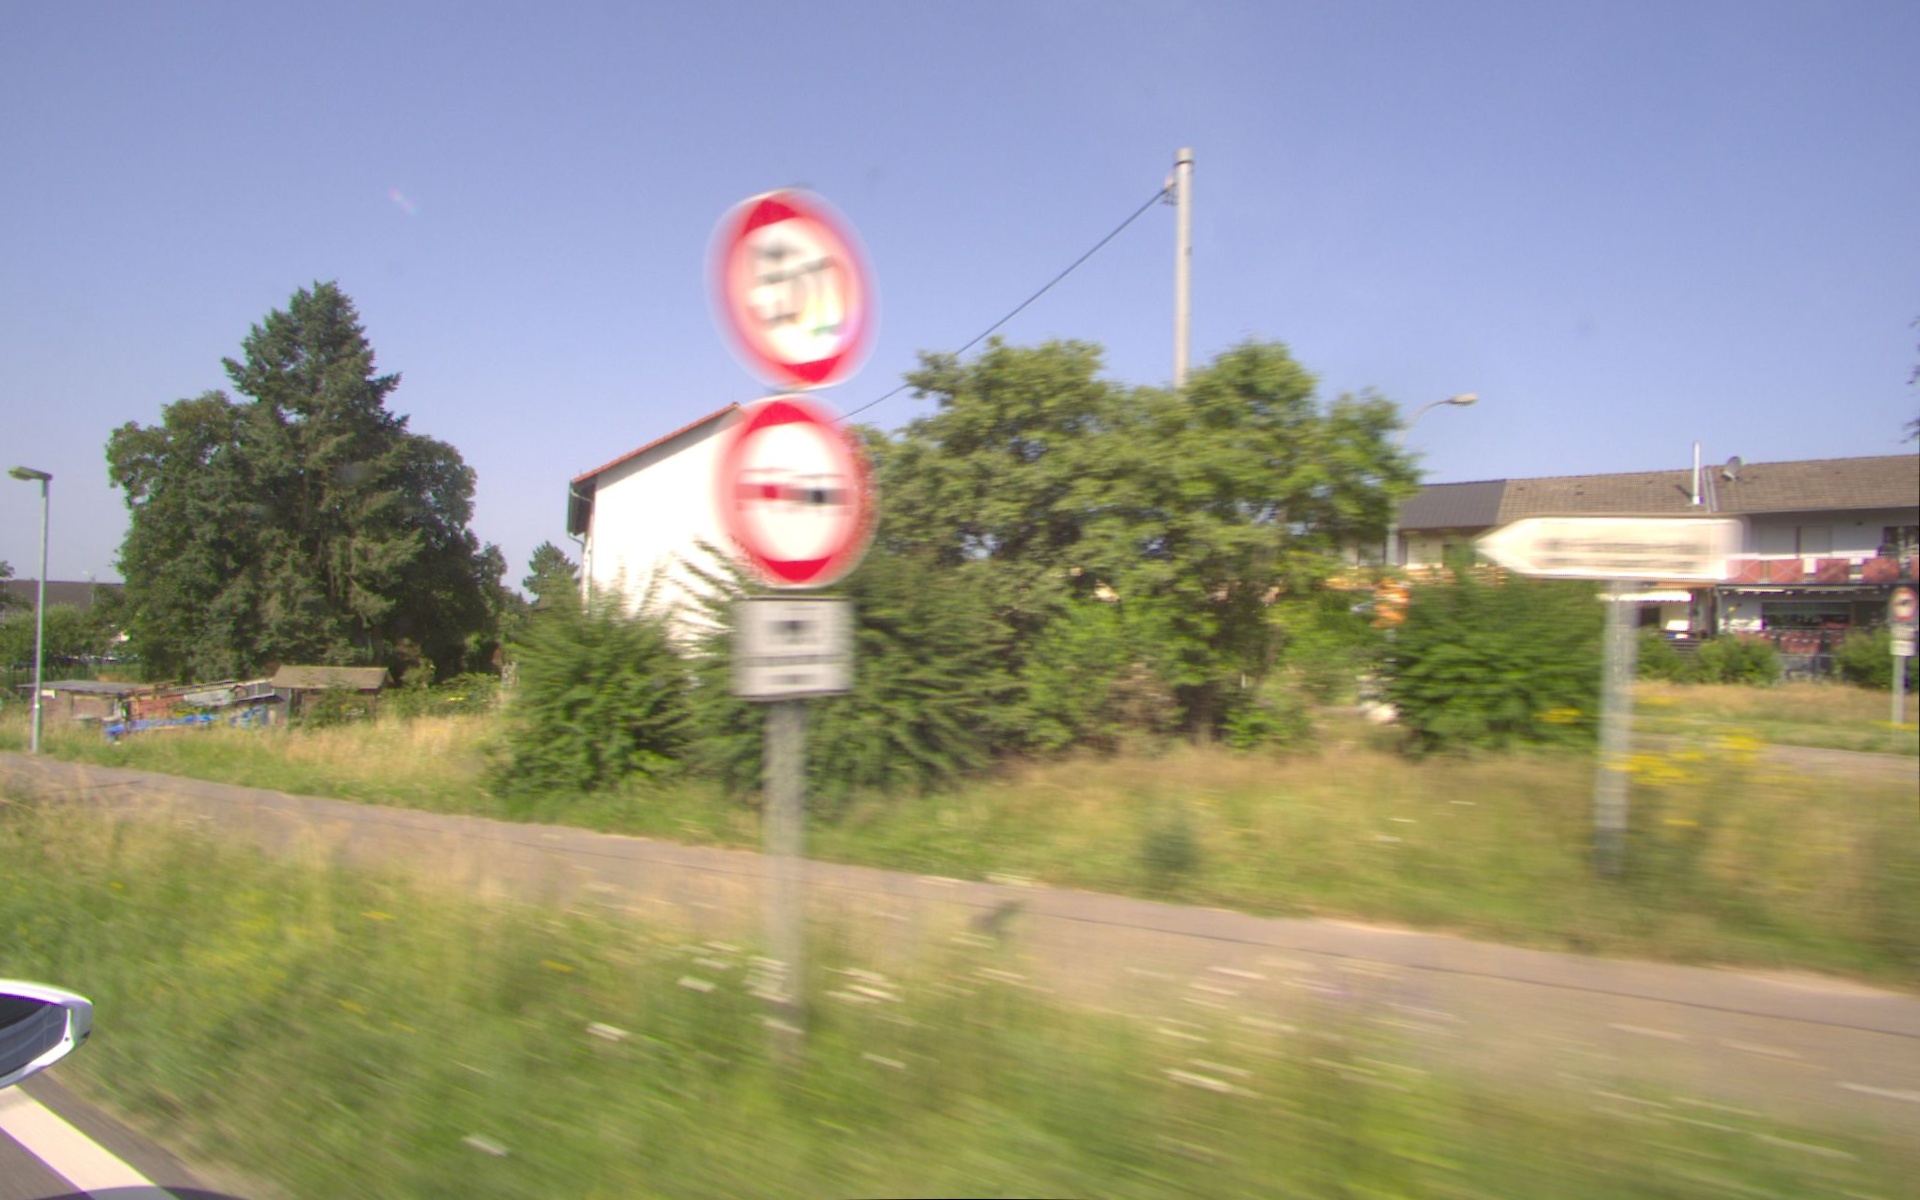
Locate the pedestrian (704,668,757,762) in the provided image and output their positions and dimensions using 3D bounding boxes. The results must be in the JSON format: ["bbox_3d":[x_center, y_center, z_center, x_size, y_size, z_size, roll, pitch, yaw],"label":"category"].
[{"bbox_3d":[-4.201,2.099,18.340,0.682,1.635,0.455,-6,-3,16],"label":"pedestrian"}]
